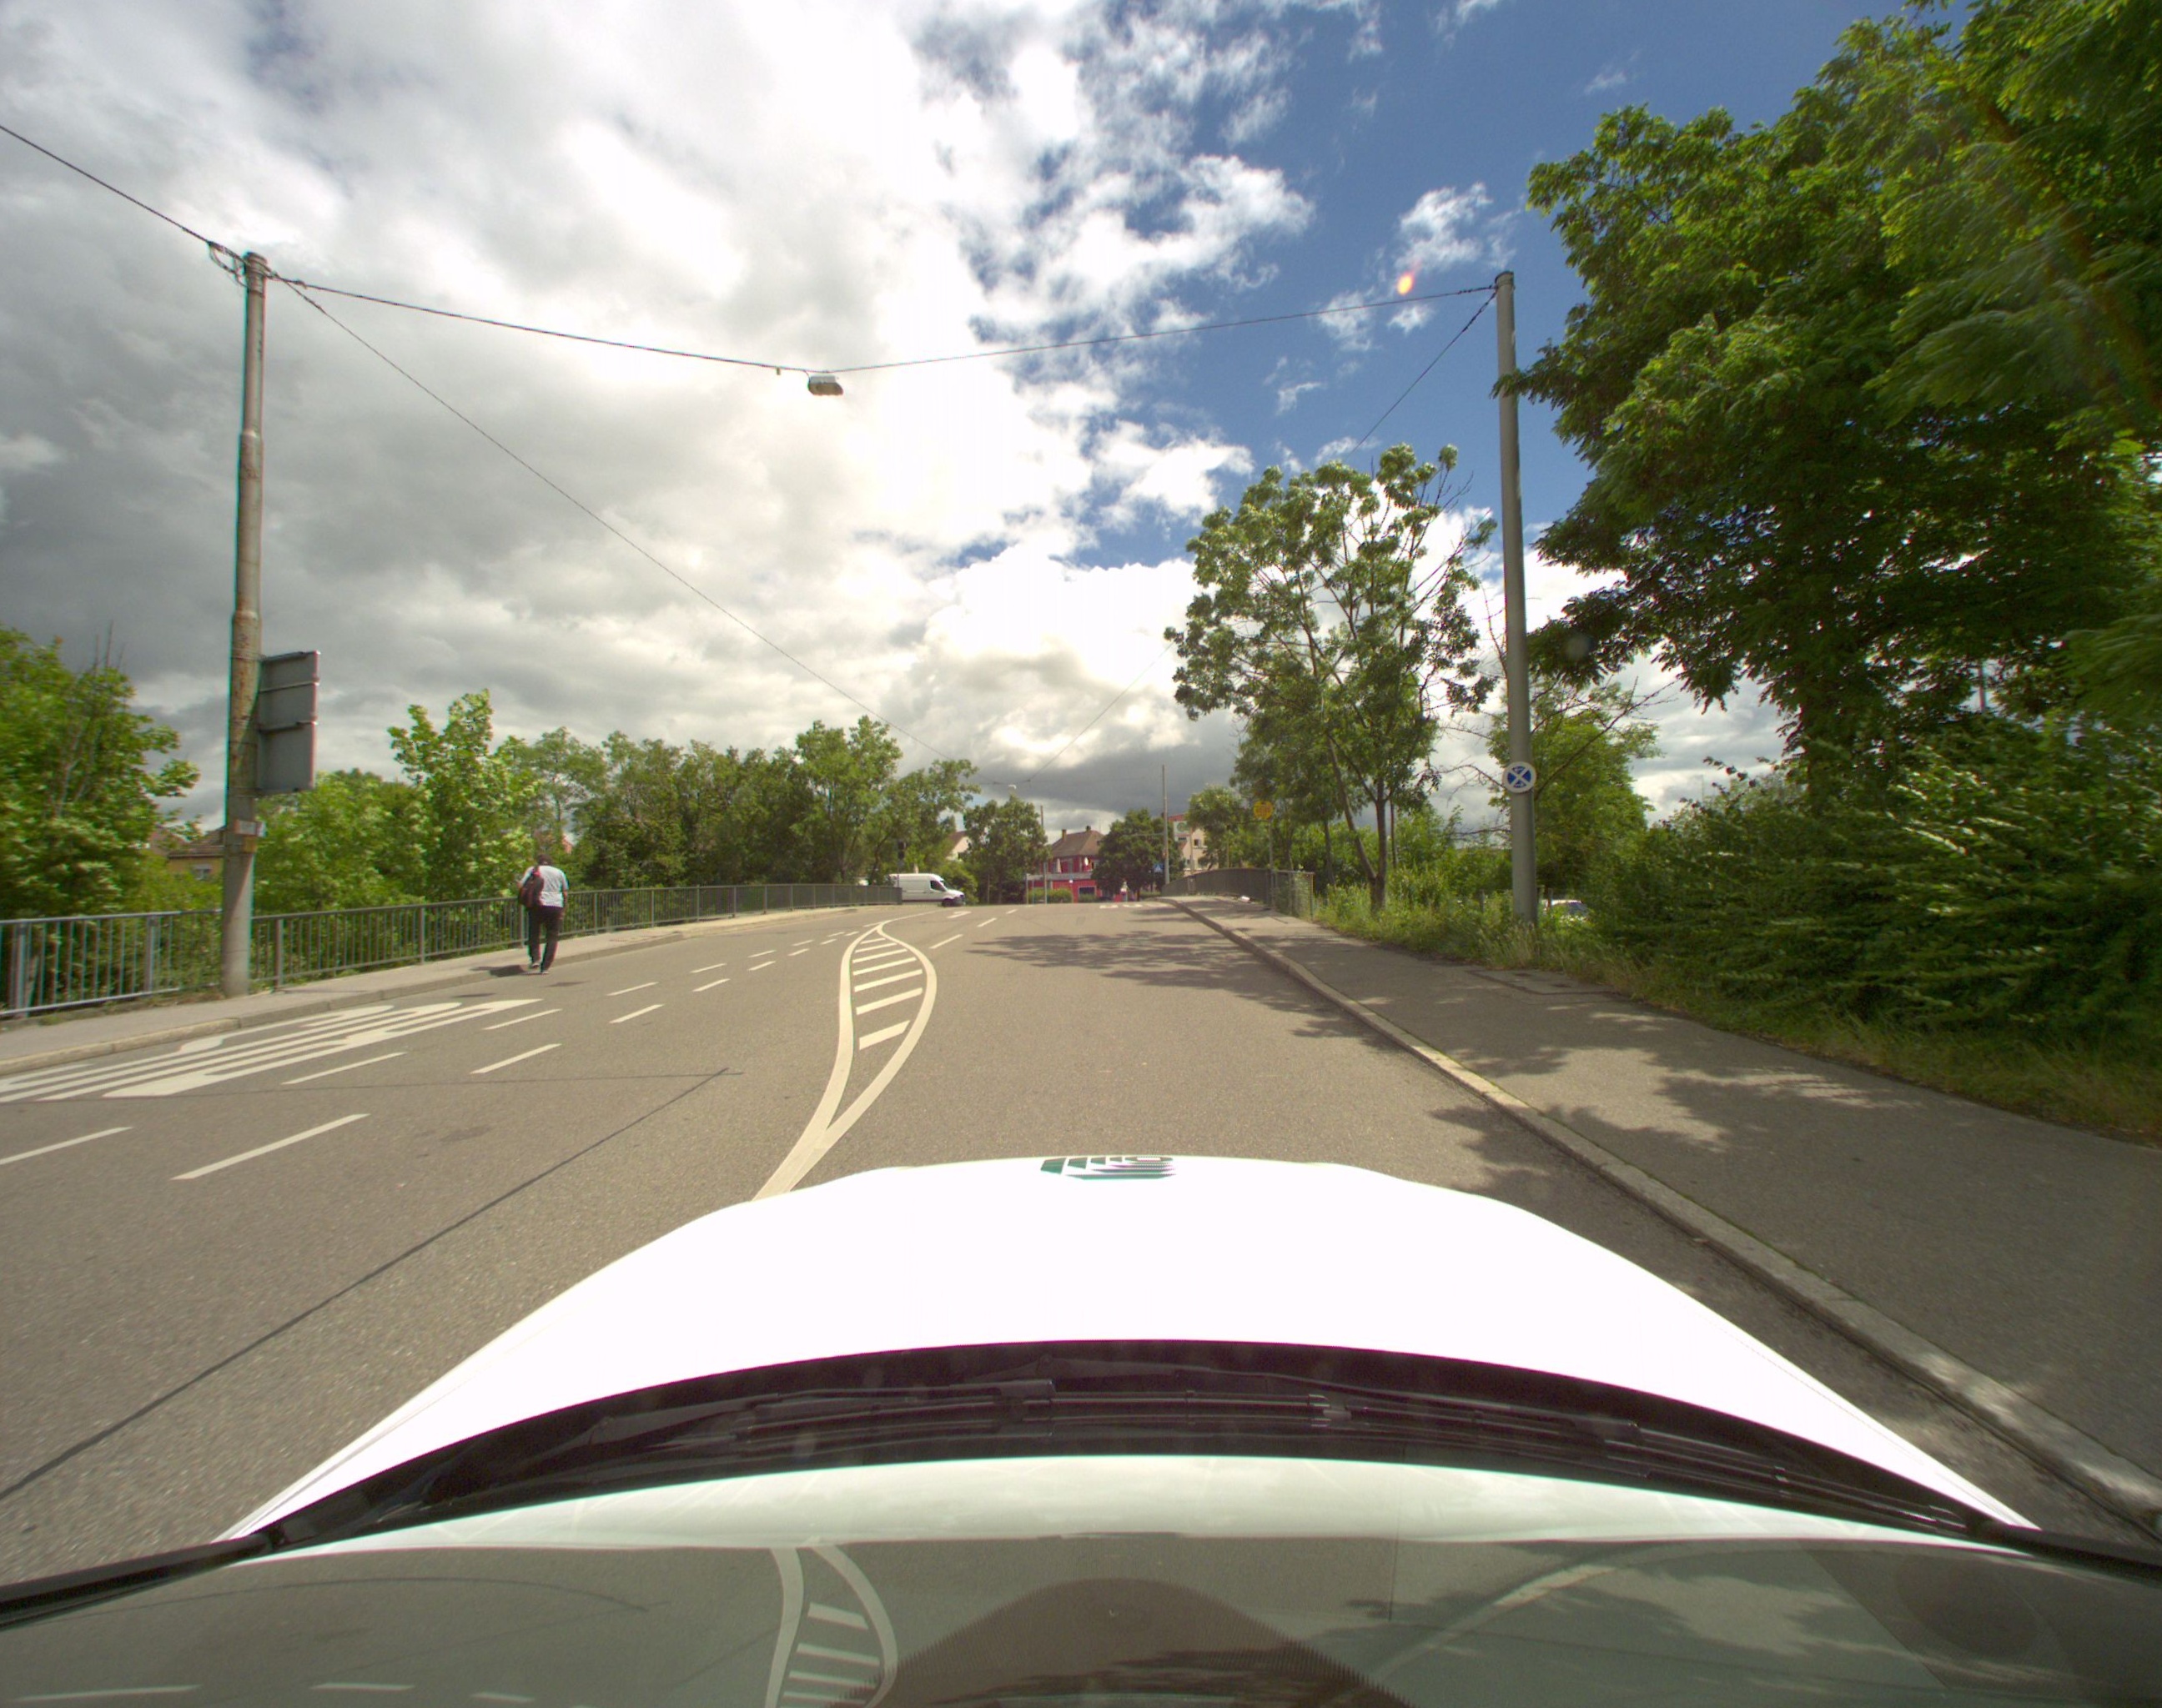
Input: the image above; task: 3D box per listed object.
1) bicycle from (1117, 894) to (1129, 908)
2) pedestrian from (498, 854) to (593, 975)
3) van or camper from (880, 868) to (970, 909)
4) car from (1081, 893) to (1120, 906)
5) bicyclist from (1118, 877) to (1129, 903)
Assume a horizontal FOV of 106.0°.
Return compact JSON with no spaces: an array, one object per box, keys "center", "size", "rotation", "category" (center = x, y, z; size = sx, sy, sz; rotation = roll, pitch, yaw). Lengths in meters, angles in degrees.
[{"center":[3.077,3.409,59.161],"size":[0.684,0.879,2.105],"rotation":[-1,-7,7],"category":"bicycle"},{"center":[-8.573,0.923,13.048],"size":[1.023,1.837,1.005],"rotation":[-2,-2,40],"category":"pedestrian"},{"center":[-11.178,2.510,58.666],"size":[5.884,2.568,2.195],"rotation":[-3,-5,3],"category":"van or camper"},{"center":[2.212,5.045,90.428],"size":[4.091,1.426,1.629],"rotation":[3,-4,-32],"category":"car"},{"center":[3.074,2.613,59.294],"size":[0.681,1.827,1.082],"rotation":[-1,-7,7],"category":"bicyclist"}]
